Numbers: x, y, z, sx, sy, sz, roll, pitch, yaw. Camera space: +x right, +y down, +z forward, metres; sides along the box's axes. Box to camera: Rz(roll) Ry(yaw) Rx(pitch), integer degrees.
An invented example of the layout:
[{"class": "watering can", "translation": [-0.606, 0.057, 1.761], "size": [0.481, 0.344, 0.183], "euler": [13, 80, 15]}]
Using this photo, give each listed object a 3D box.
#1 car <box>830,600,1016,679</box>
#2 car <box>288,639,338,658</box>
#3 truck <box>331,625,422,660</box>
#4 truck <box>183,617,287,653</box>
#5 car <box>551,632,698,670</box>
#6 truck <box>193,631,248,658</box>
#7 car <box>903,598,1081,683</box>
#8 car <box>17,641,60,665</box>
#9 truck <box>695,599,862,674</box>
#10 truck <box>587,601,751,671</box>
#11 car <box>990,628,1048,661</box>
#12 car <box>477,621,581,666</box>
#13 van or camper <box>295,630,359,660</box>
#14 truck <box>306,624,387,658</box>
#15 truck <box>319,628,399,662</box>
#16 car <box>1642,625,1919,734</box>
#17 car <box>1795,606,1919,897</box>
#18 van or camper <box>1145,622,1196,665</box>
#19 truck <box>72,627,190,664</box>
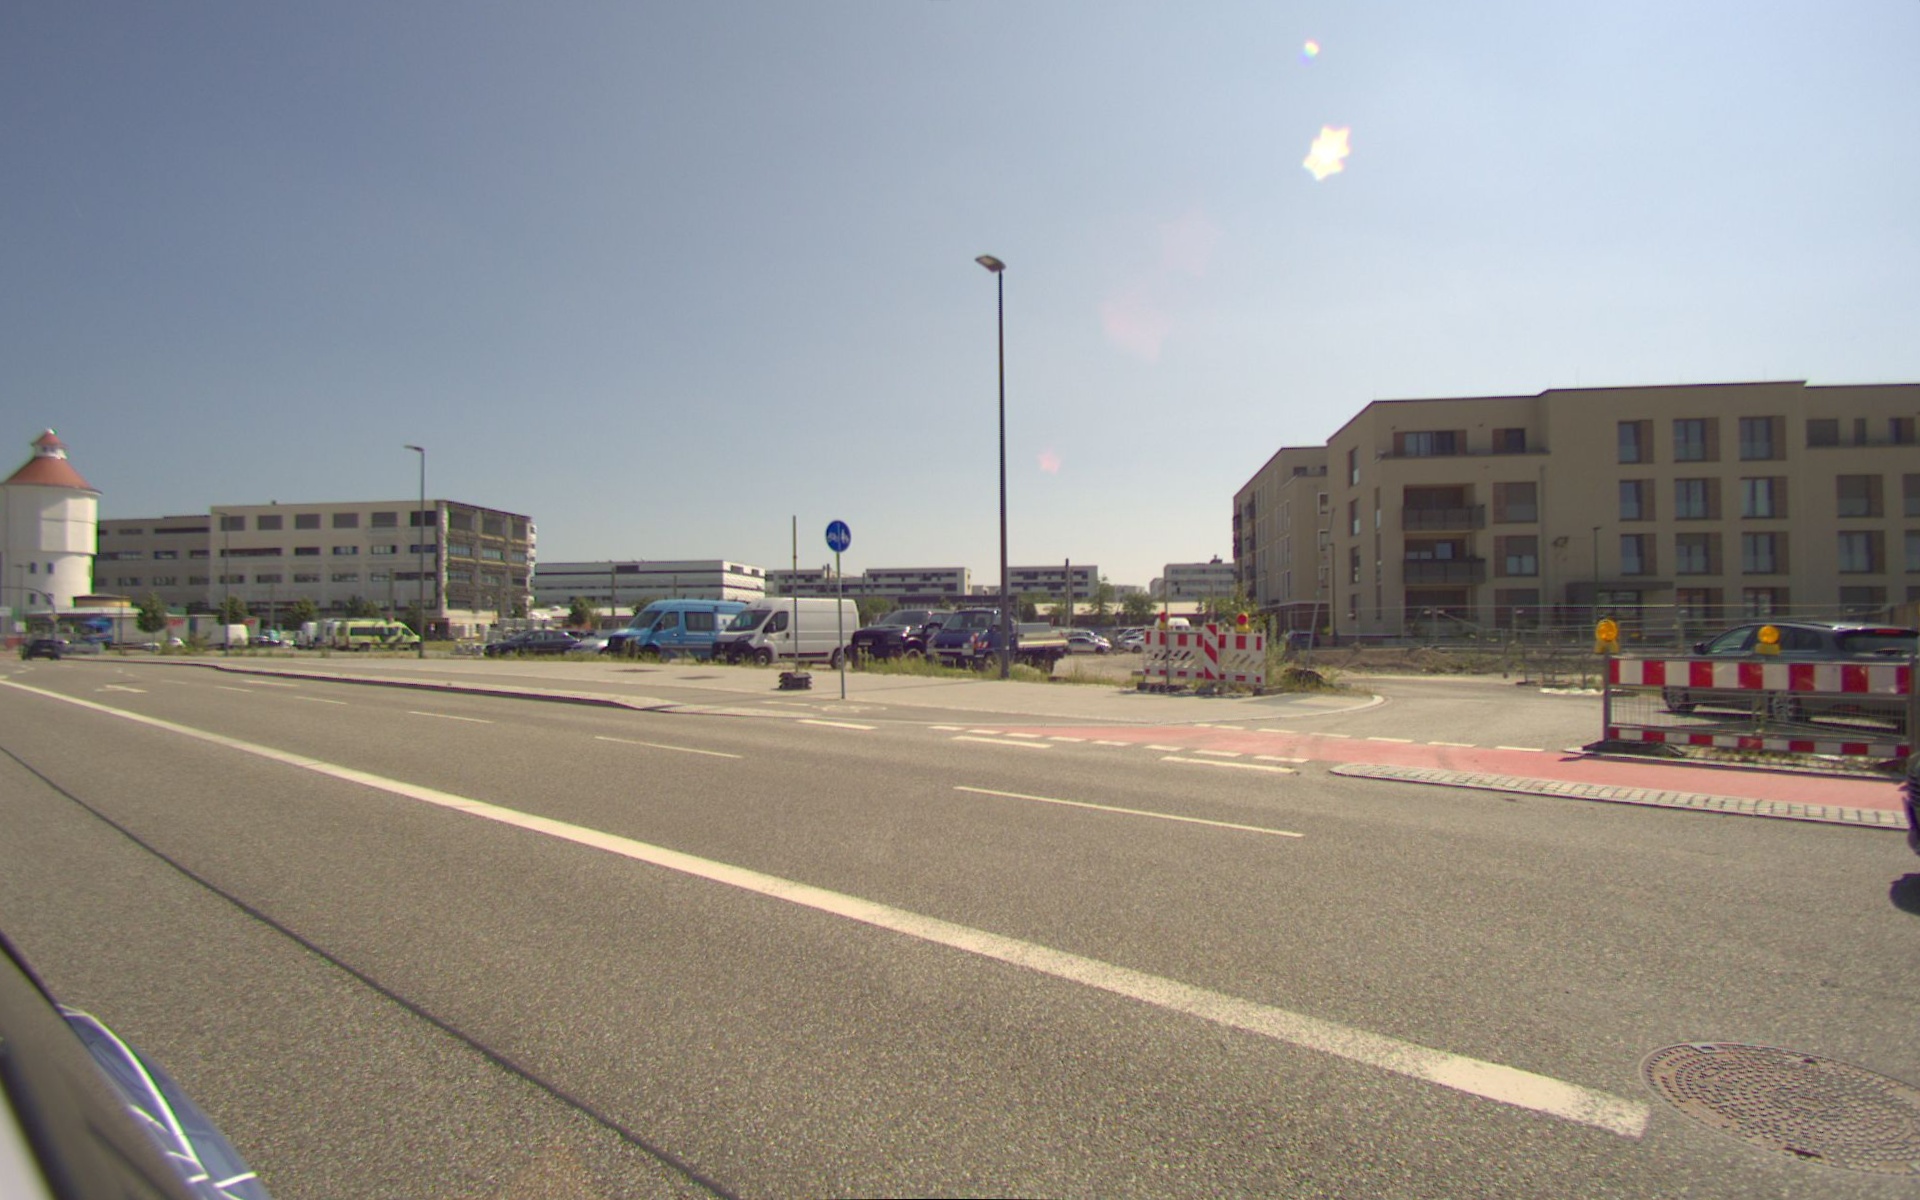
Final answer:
[{"class": "car", "translation": [-0.998, 1.197, 30.761], "size": [2.393, 2.182, 5.822], "euler": [-2, -3, 40]}, {"class": "car", "translation": [-64.406, 4.814, 100.800], "size": [1.655, 1.772, 3.829], "euler": [-3, -2, 37]}, {"class": "truck", "translation": [-52.155, 3.785, 90.542], "size": [2.599, 2.847, 6.572], "euler": [-3, -2, 38]}, {"class": "truck", "translation": [-95.671, 4.530, 133.780], "size": [3.331, 4.307, 10.839], "euler": [-1, 0, 29]}, {"class": "car", "translation": [-13.913, 2.088, 42.256], "size": [2.105, 1.485, 5.595], "euler": [-2, -3, 39]}, {"class": "truck", "translation": [-76.932, 4.619, 105.299], "size": [5.914, 2.675, 2.154], "euler": [-1, -2, 26]}, {"class": "car", "translation": [1.026, 1.152, 28.947], "size": [2.392, 2.190, 5.391], "euler": [-2, -3, 37]}, {"class": "car", "translation": [-65.487, 3.763, 71.900], "size": [4.387, 1.640, 1.882], "euler": [-2, -3, 43]}, {"class": "truck", "translation": [-6.124, 1.270, 34.798], "size": [2.273, 2.381, 5.510], "euler": [-3, -3, 39]}, {"class": "truck", "translation": [-11.342, 1.424, 39.846], "size": [2.274, 2.563, 5.940], "euler": [-3, -3, 42]}, {"class": "car", "translation": [4.136, 3.132, 70.776], "size": [3.951, 2.258, 1.996], "euler": [0, -2, 6]}, {"class": "car", "translation": [-19.389, 1.956, 45.600], "size": [3.938, 1.918, 1.830], "euler": [2, -3, -42]}, {"class": "van or camper", "translation": [-61.572, 4.360, 98.541], "size": [2.258, 2.682, 4.849], "euler": [-3, -2, 41]}, {"class": "truck", "translation": [-58.125, 3.820, 95.934], "size": [2.570, 2.923, 6.080], "euler": [-1, 0, 42]}, {"class": "truck", "translation": [-54.810, 4.059, 92.364], "size": [2.569, 2.846, 5.776], "euler": [-1, 0, 40]}, {"class": "car", "translation": [12.011, 1.063, 14.432], "size": [1.975, 1.328, 4.239], "euler": [-1, -3, 6]}, {"class": "car", "translation": [6.386, 0.687, 4.191], "size": [4.454, 1.362, 1.686], "euler": [-2, -3, 41]}, {"class": "van or camper", "translation": [13.110, 2.720, 63.397], "size": [1.909, 2.578, 5.927], "euler": [0, -3, 0]}, {"class": "truck", "translation": [-100.830, 5.435, 123.417], "size": [3.281, 4.098, 10.895], "euler": [-1, 0, 23]}]
